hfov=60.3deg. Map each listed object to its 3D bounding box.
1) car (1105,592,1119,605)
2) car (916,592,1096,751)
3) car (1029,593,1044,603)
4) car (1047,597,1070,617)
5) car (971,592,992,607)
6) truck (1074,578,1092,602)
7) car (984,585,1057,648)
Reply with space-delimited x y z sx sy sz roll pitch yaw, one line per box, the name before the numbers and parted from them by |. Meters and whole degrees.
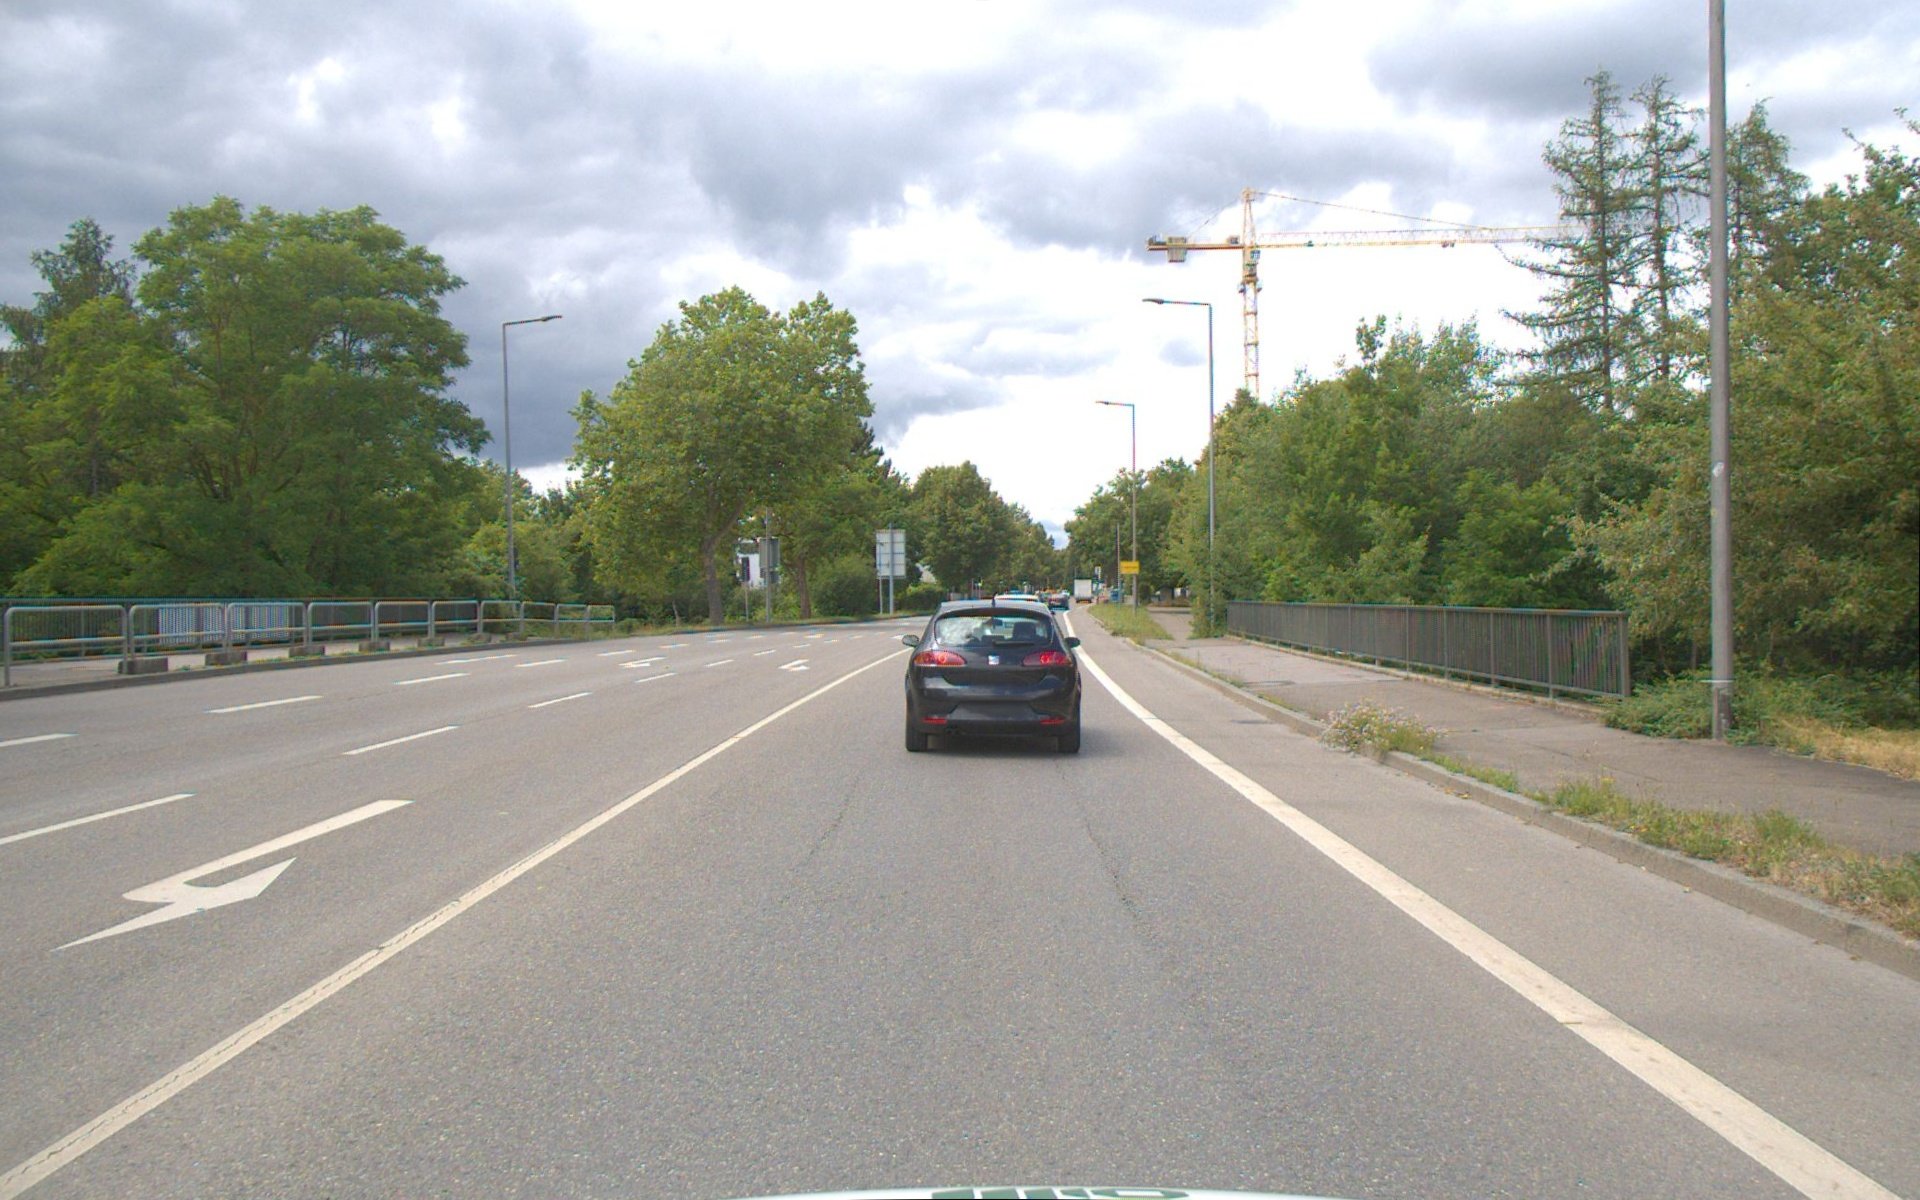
car | 17.793 -0.217 193.541 1.652 1.516 3.357 -1 0 5
car | 0.468 0.653 17.039 1.628 1.426 3.812 1 0 1
car | 11.947 -0.296 257.247 2.055 1.532 5.788 -3 0 5
car | 8.959 0.602 150.149 1.841 1.718 4.216 -1 0 5
car | 2.259 -0.044 171.285 1.682 1.419 4.804 -3 0 5
truck | 16.567 -1.271 223.037 2.231 3.158 8.515 1 0 5
car | 1.607 0.418 43.095 1.807 1.536 3.813 1 0 3
